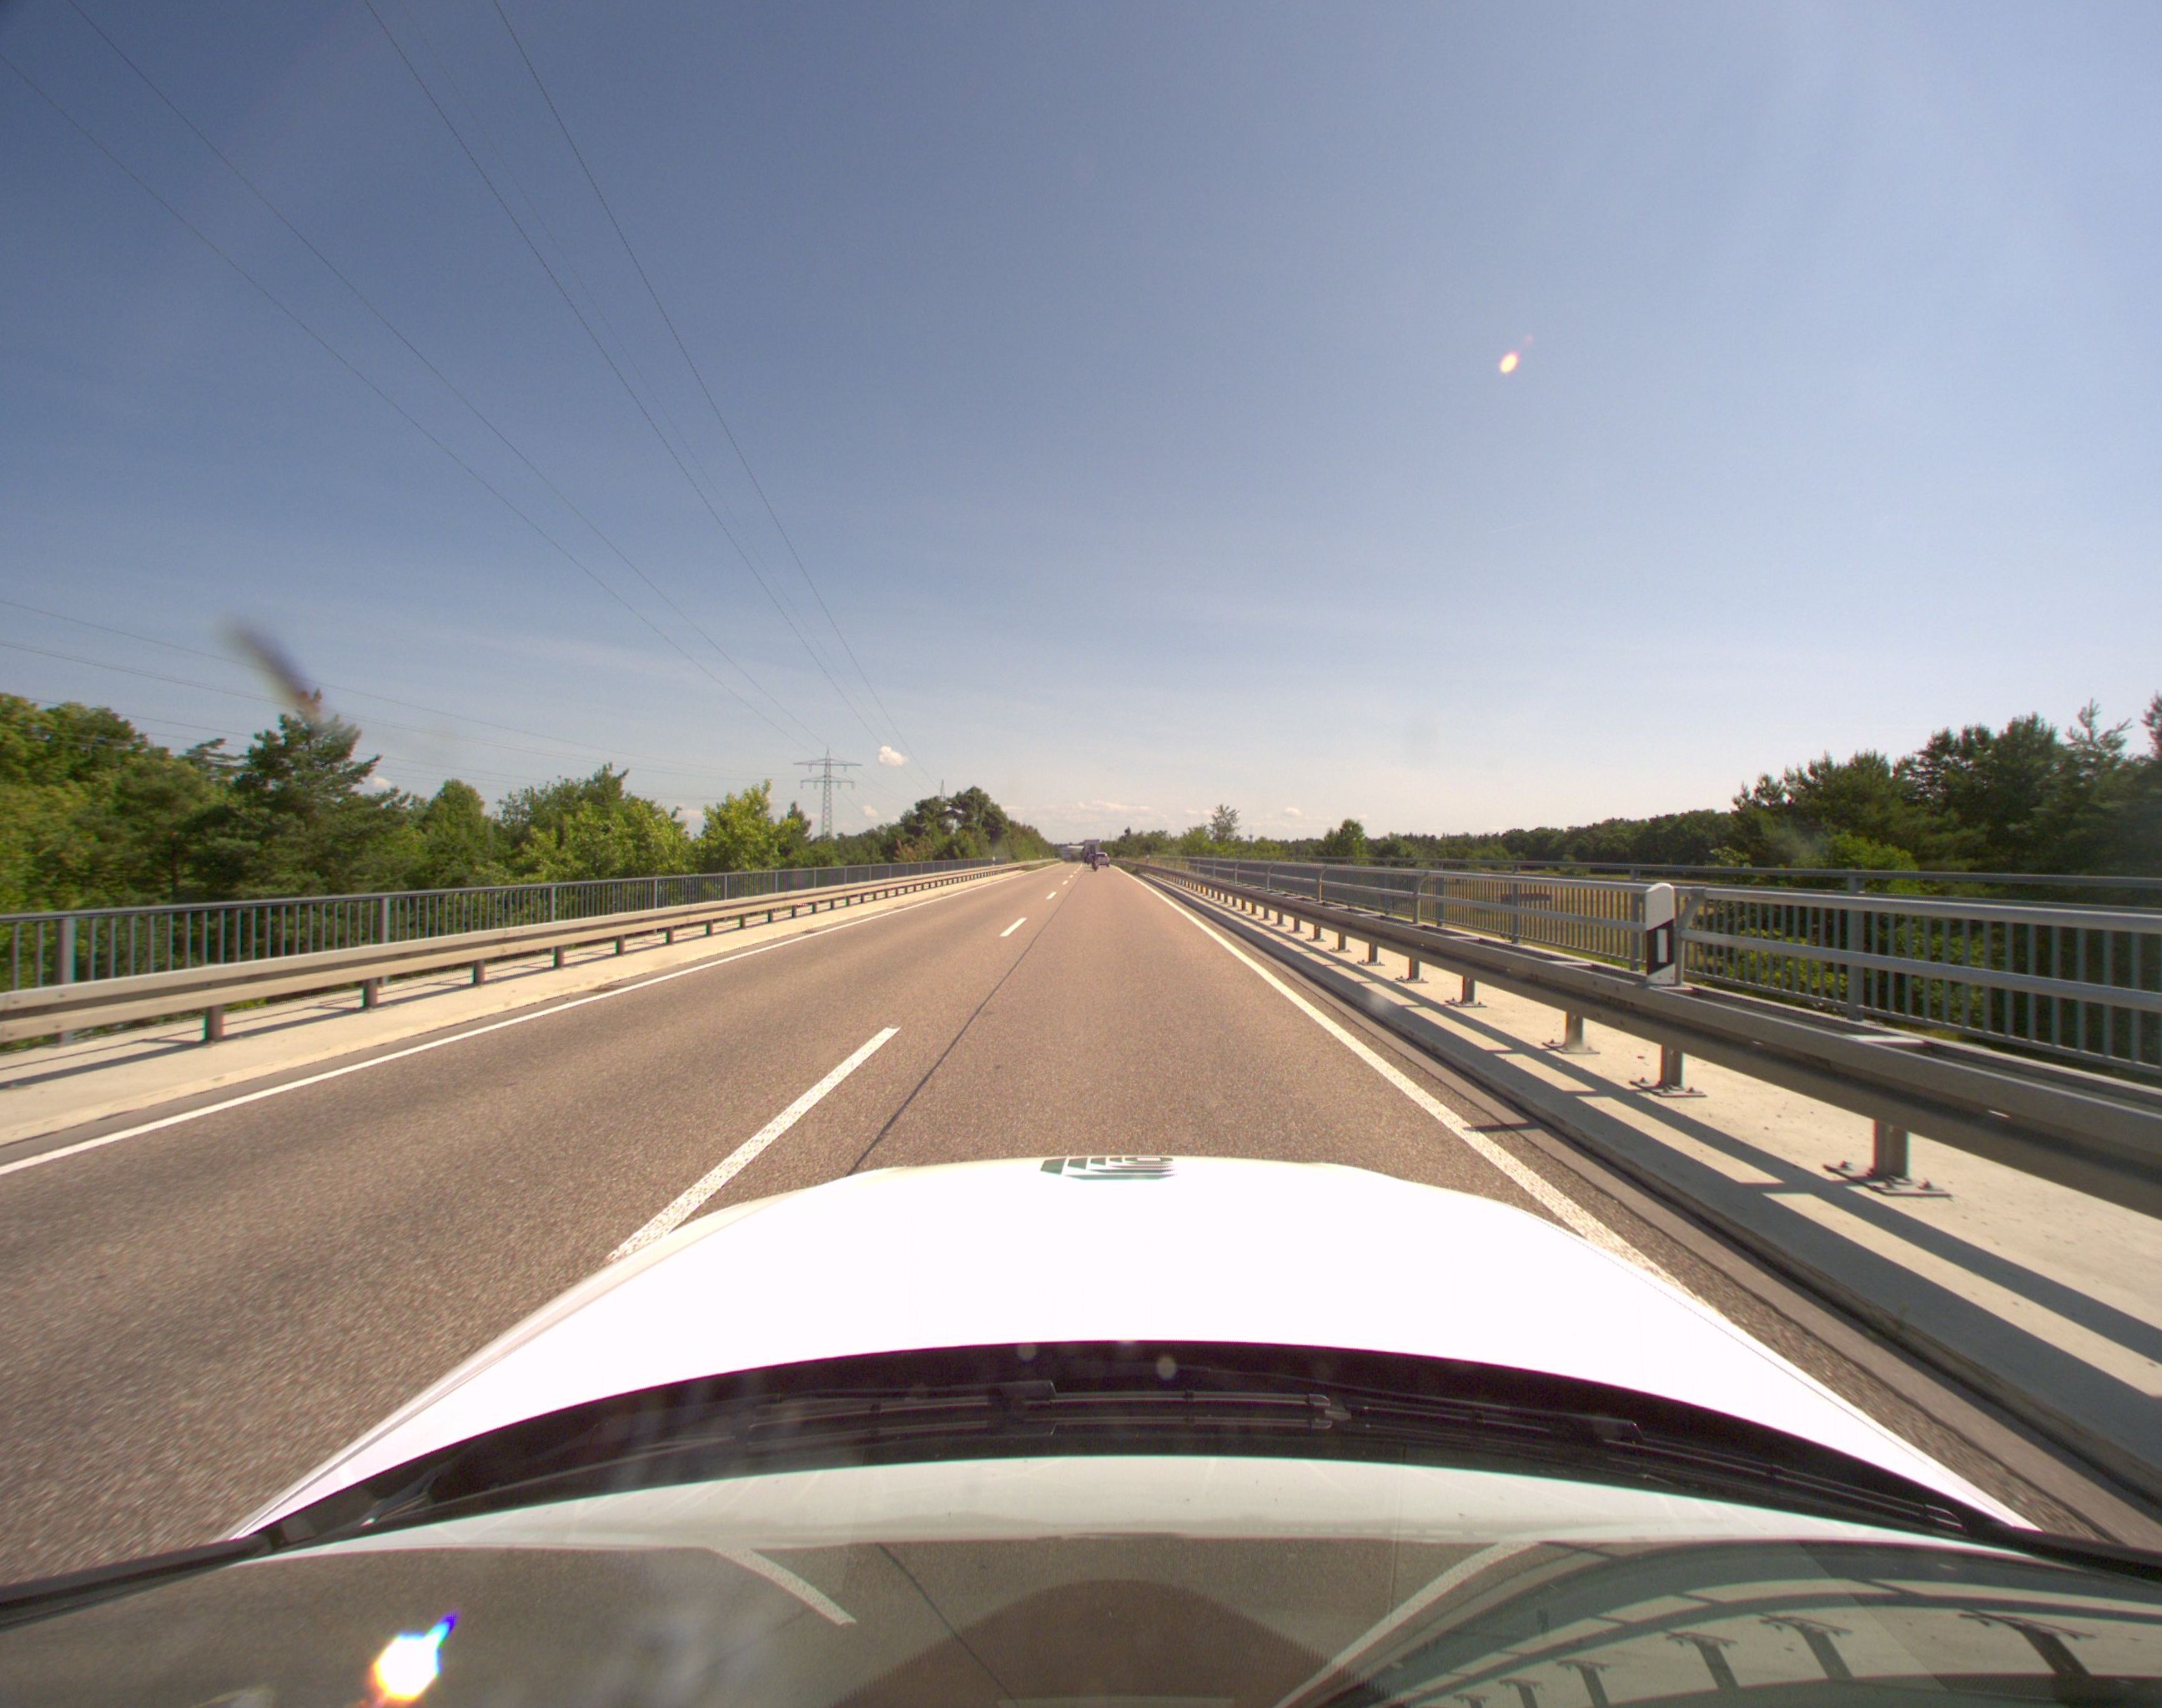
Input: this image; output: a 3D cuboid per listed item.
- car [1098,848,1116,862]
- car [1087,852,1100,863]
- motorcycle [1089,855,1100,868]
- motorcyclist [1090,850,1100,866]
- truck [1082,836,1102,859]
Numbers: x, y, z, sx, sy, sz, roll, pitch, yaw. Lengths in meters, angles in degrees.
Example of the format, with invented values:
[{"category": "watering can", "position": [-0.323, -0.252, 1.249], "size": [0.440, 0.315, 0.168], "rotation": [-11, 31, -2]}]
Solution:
[{"category": "car", "position": [2.795, 0.110, 88.260], "size": [1.819, 1.451, 4.002], "rotation": [-1, 1, 2]}, {"category": "car", "position": [1.839, 0.480, 118.061], "size": [1.858, 1.420, 4.003], "rotation": [-1, 1, 3]}, {"category": "motorcycle", "position": [1.166, 0.637, 68.791], "size": [0.777, 0.975, 2.363], "rotation": [-1, 1, 3]}, {"category": "motorcyclist", "position": [1.173, 0.341, 68.809], "size": [0.777, 1.325, 0.814], "rotation": [-1, 1, 3]}, {"category": "truck", "position": [1.991, -1.167, 145.151], "size": [3.229, 3.978, 9.449], "rotation": [-1, 0, 2]}]
